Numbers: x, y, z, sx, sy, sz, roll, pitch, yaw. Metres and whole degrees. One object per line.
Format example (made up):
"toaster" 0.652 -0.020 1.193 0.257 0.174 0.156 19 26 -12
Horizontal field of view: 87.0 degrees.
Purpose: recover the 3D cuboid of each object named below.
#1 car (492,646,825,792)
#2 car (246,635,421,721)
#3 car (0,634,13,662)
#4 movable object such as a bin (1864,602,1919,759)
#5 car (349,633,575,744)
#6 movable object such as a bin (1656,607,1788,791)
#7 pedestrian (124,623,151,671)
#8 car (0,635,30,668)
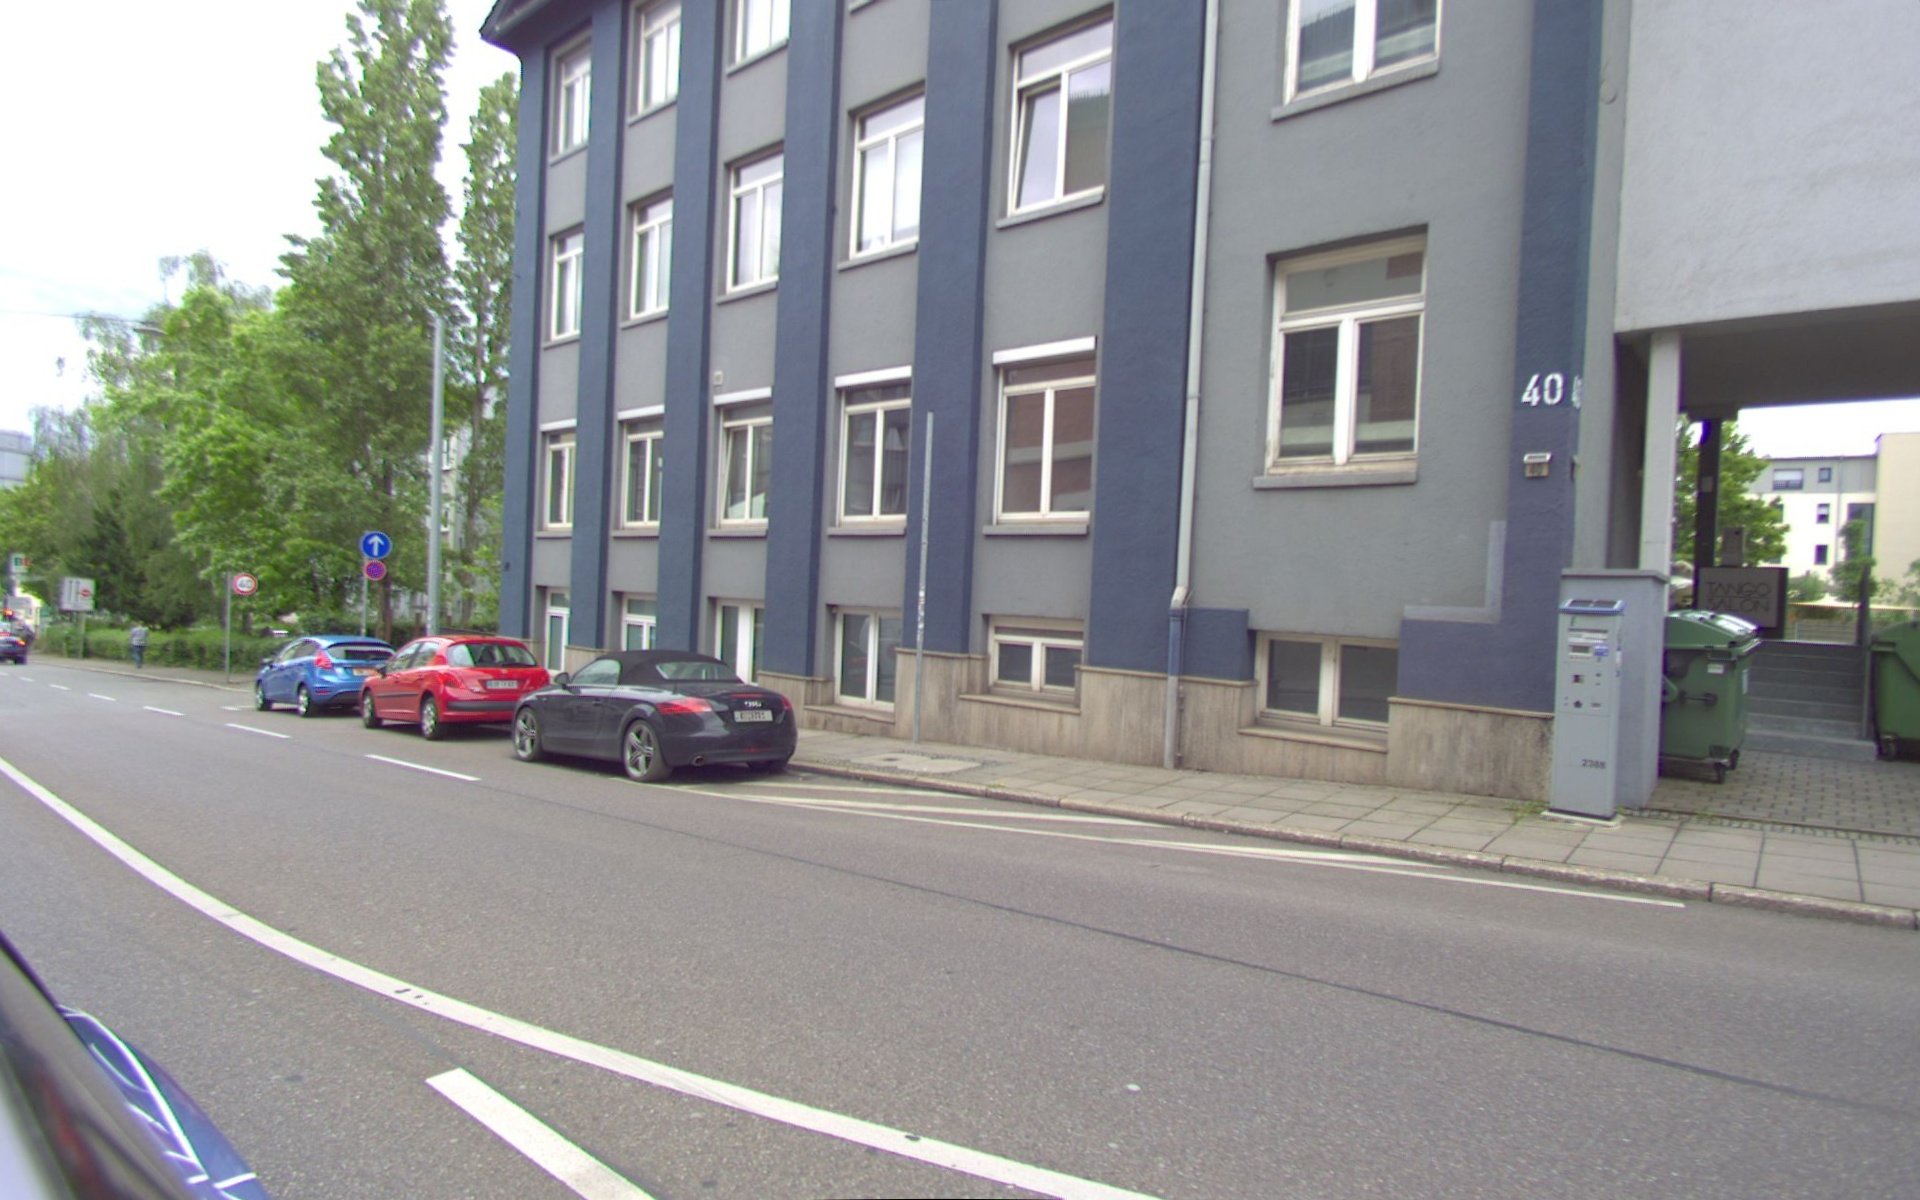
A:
"car" -3.534 1.231 11.520 4.039 1.337 1.702 -2 -5 41
"car" -11.894 1.409 19.133 3.724 1.465 1.702 -2 -4 40
"car" -49.799 2.442 51.708 3.726 1.427 1.701 -2 -4 42
"movable object such as a bin" 9.797 0.812 10.005 1.190 1.489 1.132 5 1 41
"car" -7.724 1.287 15.561 3.868 1.485 1.795 -2 -5 43
"movable object such as a bin" 6.780 0.815 8.989 0.784 1.467 1.251 0 1 44
"pedestrian" -32.627 1.856 40.142 0.776 1.864 0.736 -2 -2 42
"car" -44.369 2.353 46.755 3.726 1.495 1.701 -2 -4 42
